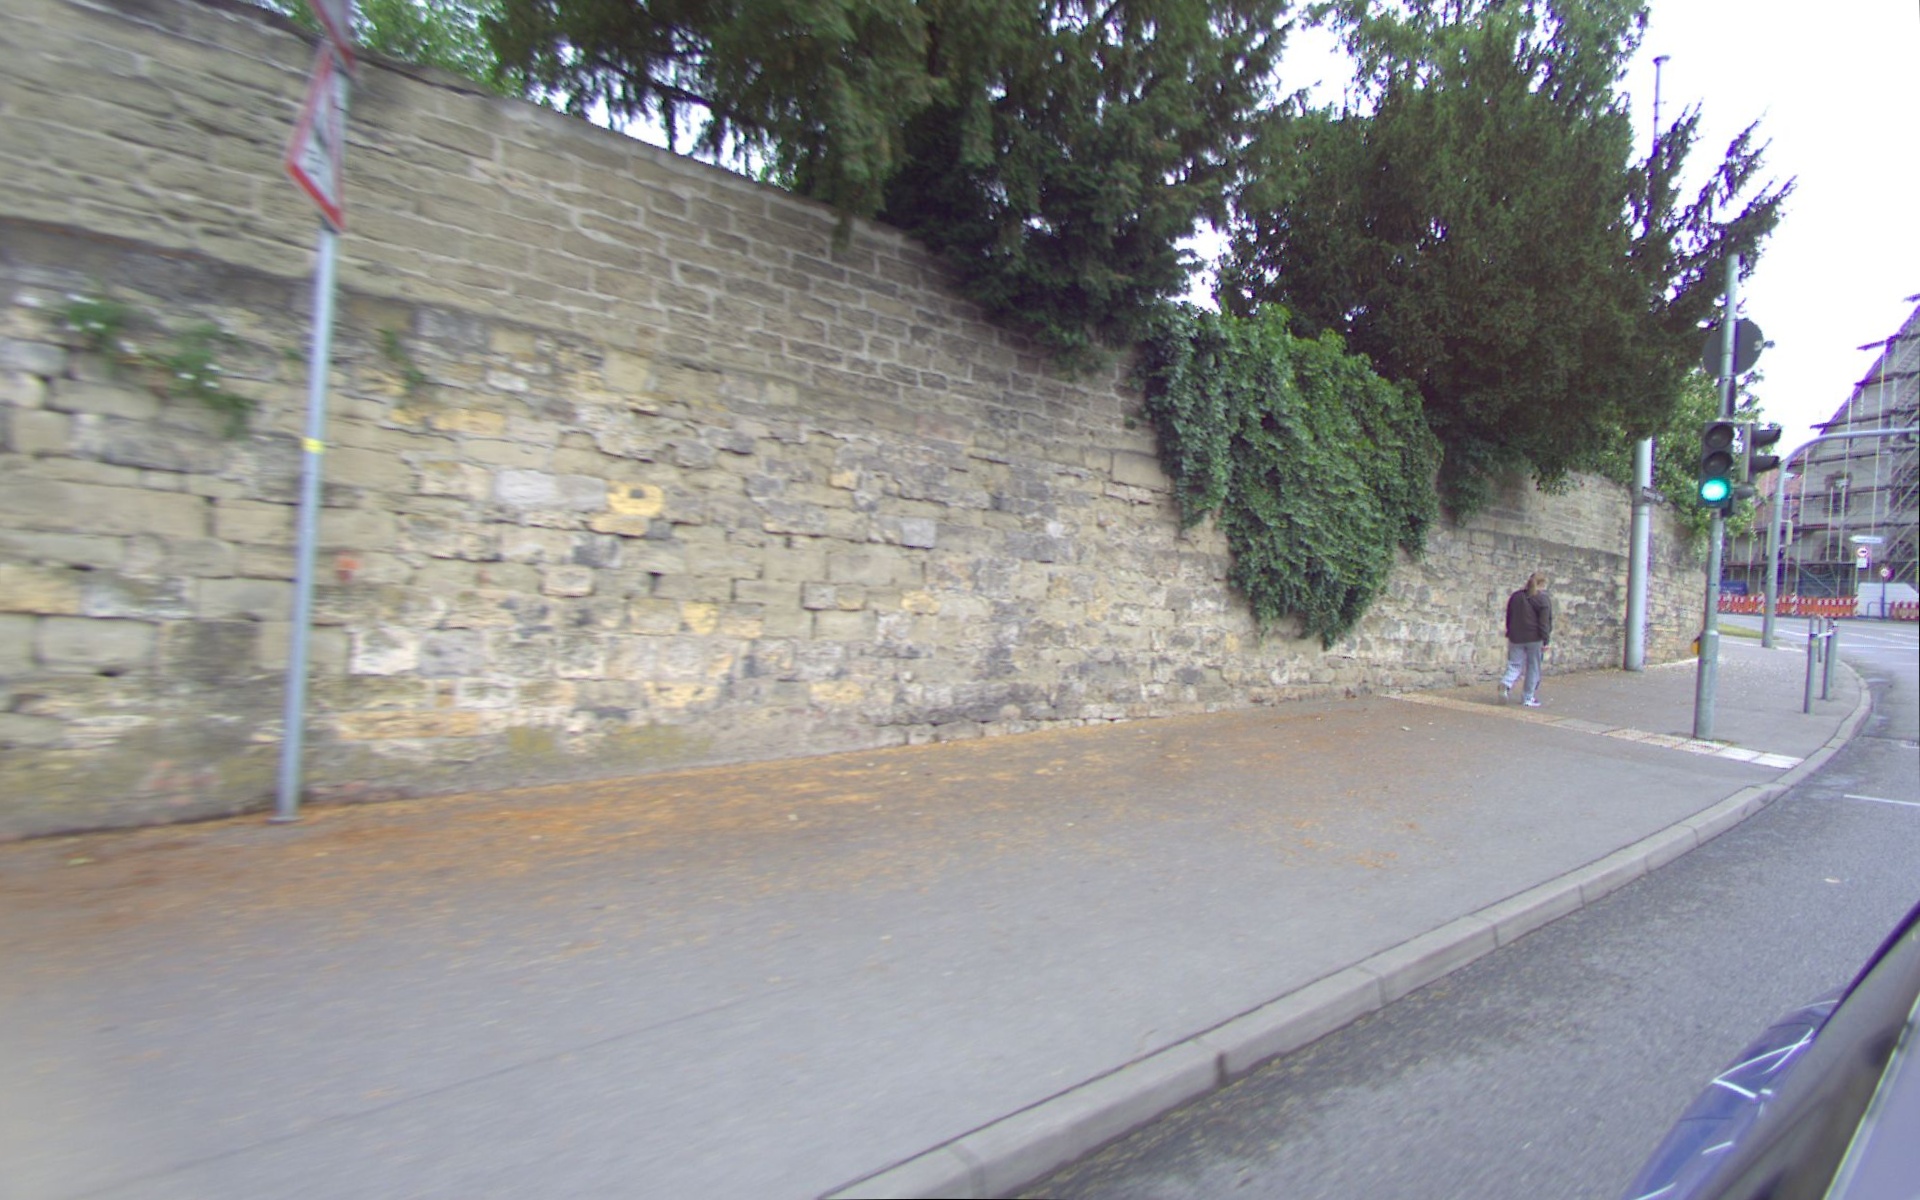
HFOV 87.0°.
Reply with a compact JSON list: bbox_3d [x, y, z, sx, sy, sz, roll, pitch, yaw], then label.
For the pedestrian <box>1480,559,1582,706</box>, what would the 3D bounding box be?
[{"bbox_3d":[6.621,0.355,11.743,0.731,1.595,0.732,1,3,-42],"label":"pedestrian"}]
